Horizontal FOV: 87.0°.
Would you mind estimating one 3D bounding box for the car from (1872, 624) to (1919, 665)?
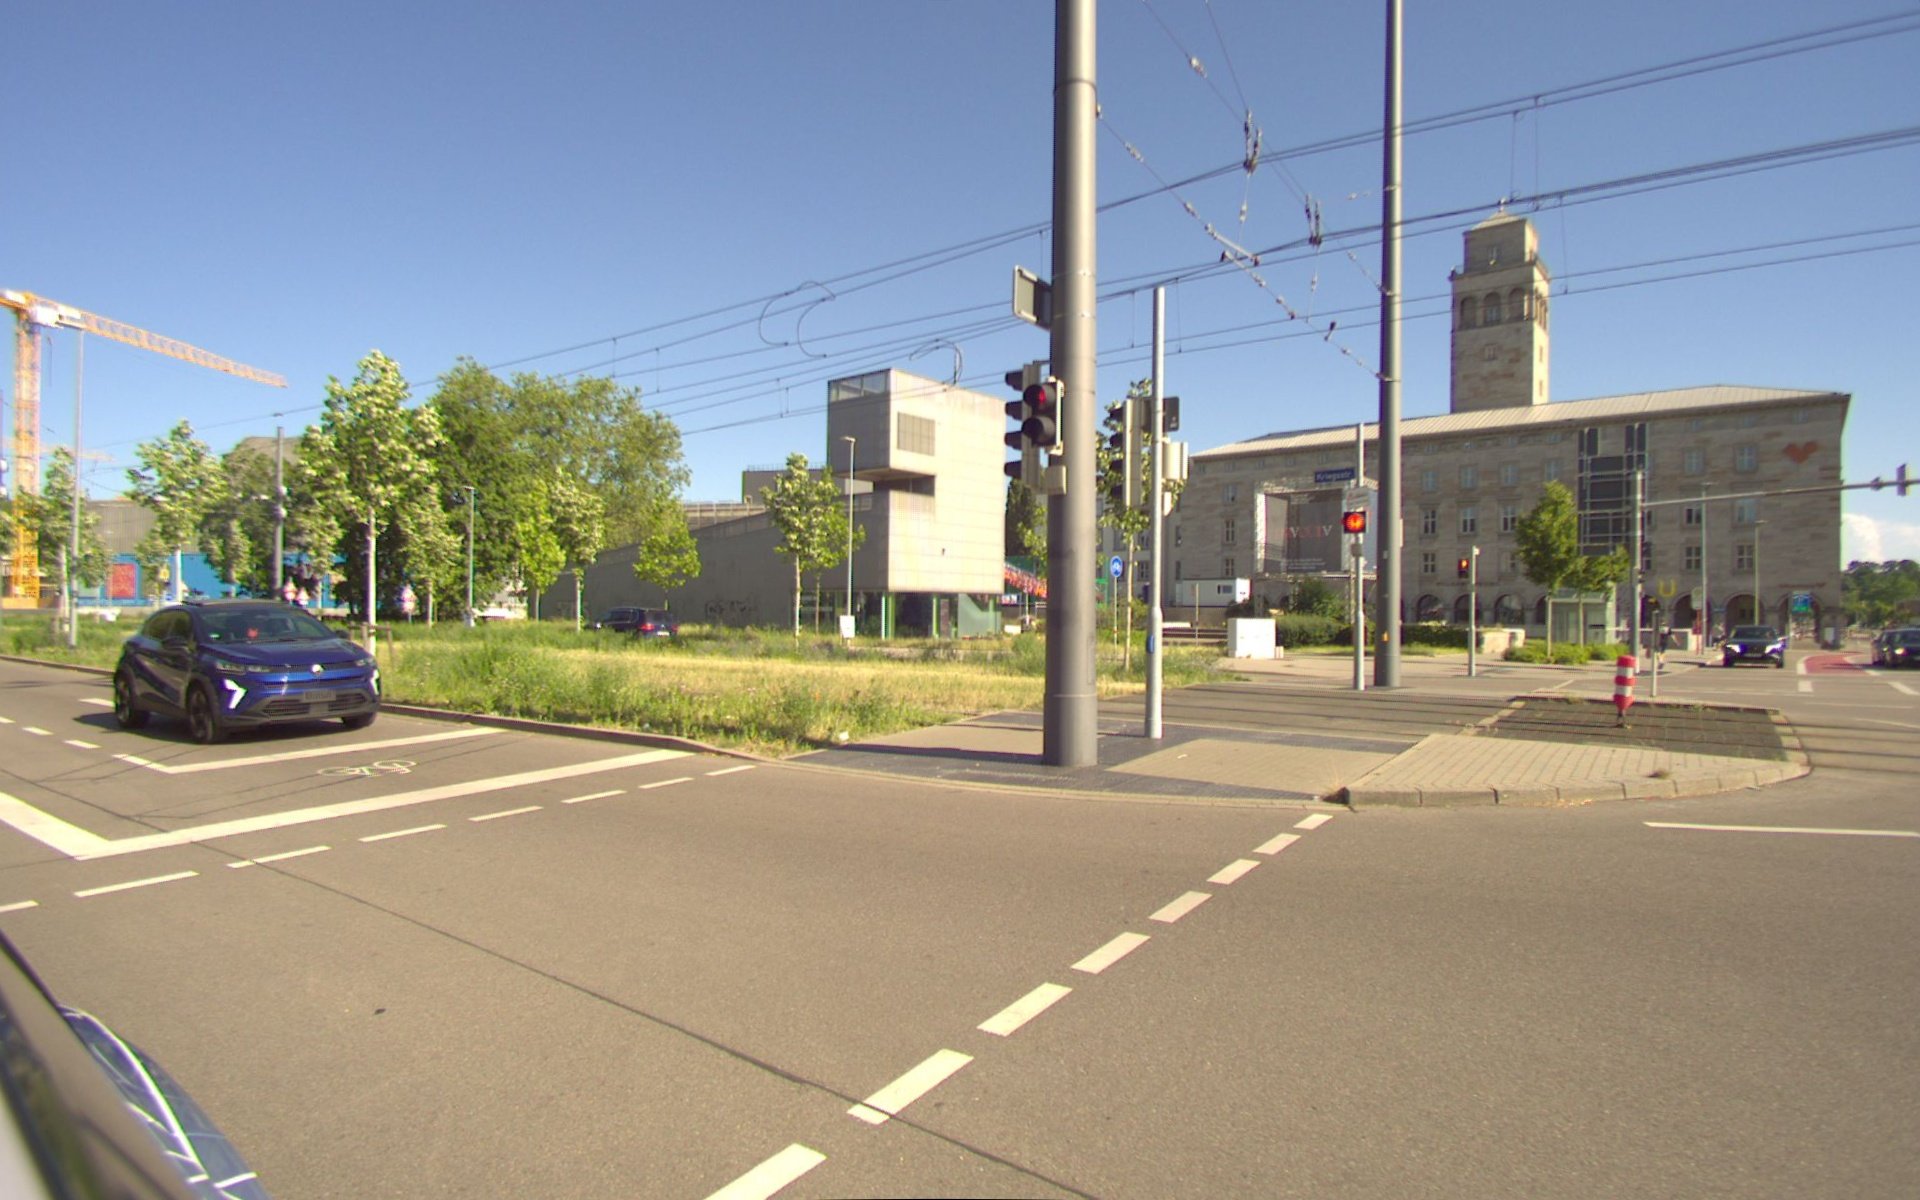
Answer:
[{"bbox_3d":[37.613,1.747,40.271,1.903,1.551,3.945,-1,-1,42],"label":"car"}]

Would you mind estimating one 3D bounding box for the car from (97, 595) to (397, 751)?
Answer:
[{"bbox_3d":[-8.815,0.764,12.417,4.079,1.600,1.755,0,1,35],"label":"car"}]

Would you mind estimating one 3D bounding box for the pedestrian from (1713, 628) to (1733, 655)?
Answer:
[{"bbox_3d":[48.754,2.662,64.663,0.946,1.698,1.181,-2,-2,37],"label":"pedestrian"}]

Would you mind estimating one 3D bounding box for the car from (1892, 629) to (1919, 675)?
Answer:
[{"bbox_3d":[34.517,1.823,36.006,1.903,1.551,3.945,-1,-1,42],"label":"car"}]

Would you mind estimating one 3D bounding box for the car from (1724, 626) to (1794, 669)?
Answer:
[{"bbox_3d":[31.072,1.797,39.326,1.903,1.551,3.945,-1,-1,42],"label":"car"}]

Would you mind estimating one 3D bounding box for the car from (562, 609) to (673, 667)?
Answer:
[{"bbox_3d":[-12.309,1.325,36.335,3.993,1.970,1.853,-1,-1,37],"label":"car"}]

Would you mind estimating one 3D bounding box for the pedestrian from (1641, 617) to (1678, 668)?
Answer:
[{"bbox_3d":[24.133,1.455,34.911,0.946,1.698,1.181,-2,-2,37],"label":"pedestrian"}]
